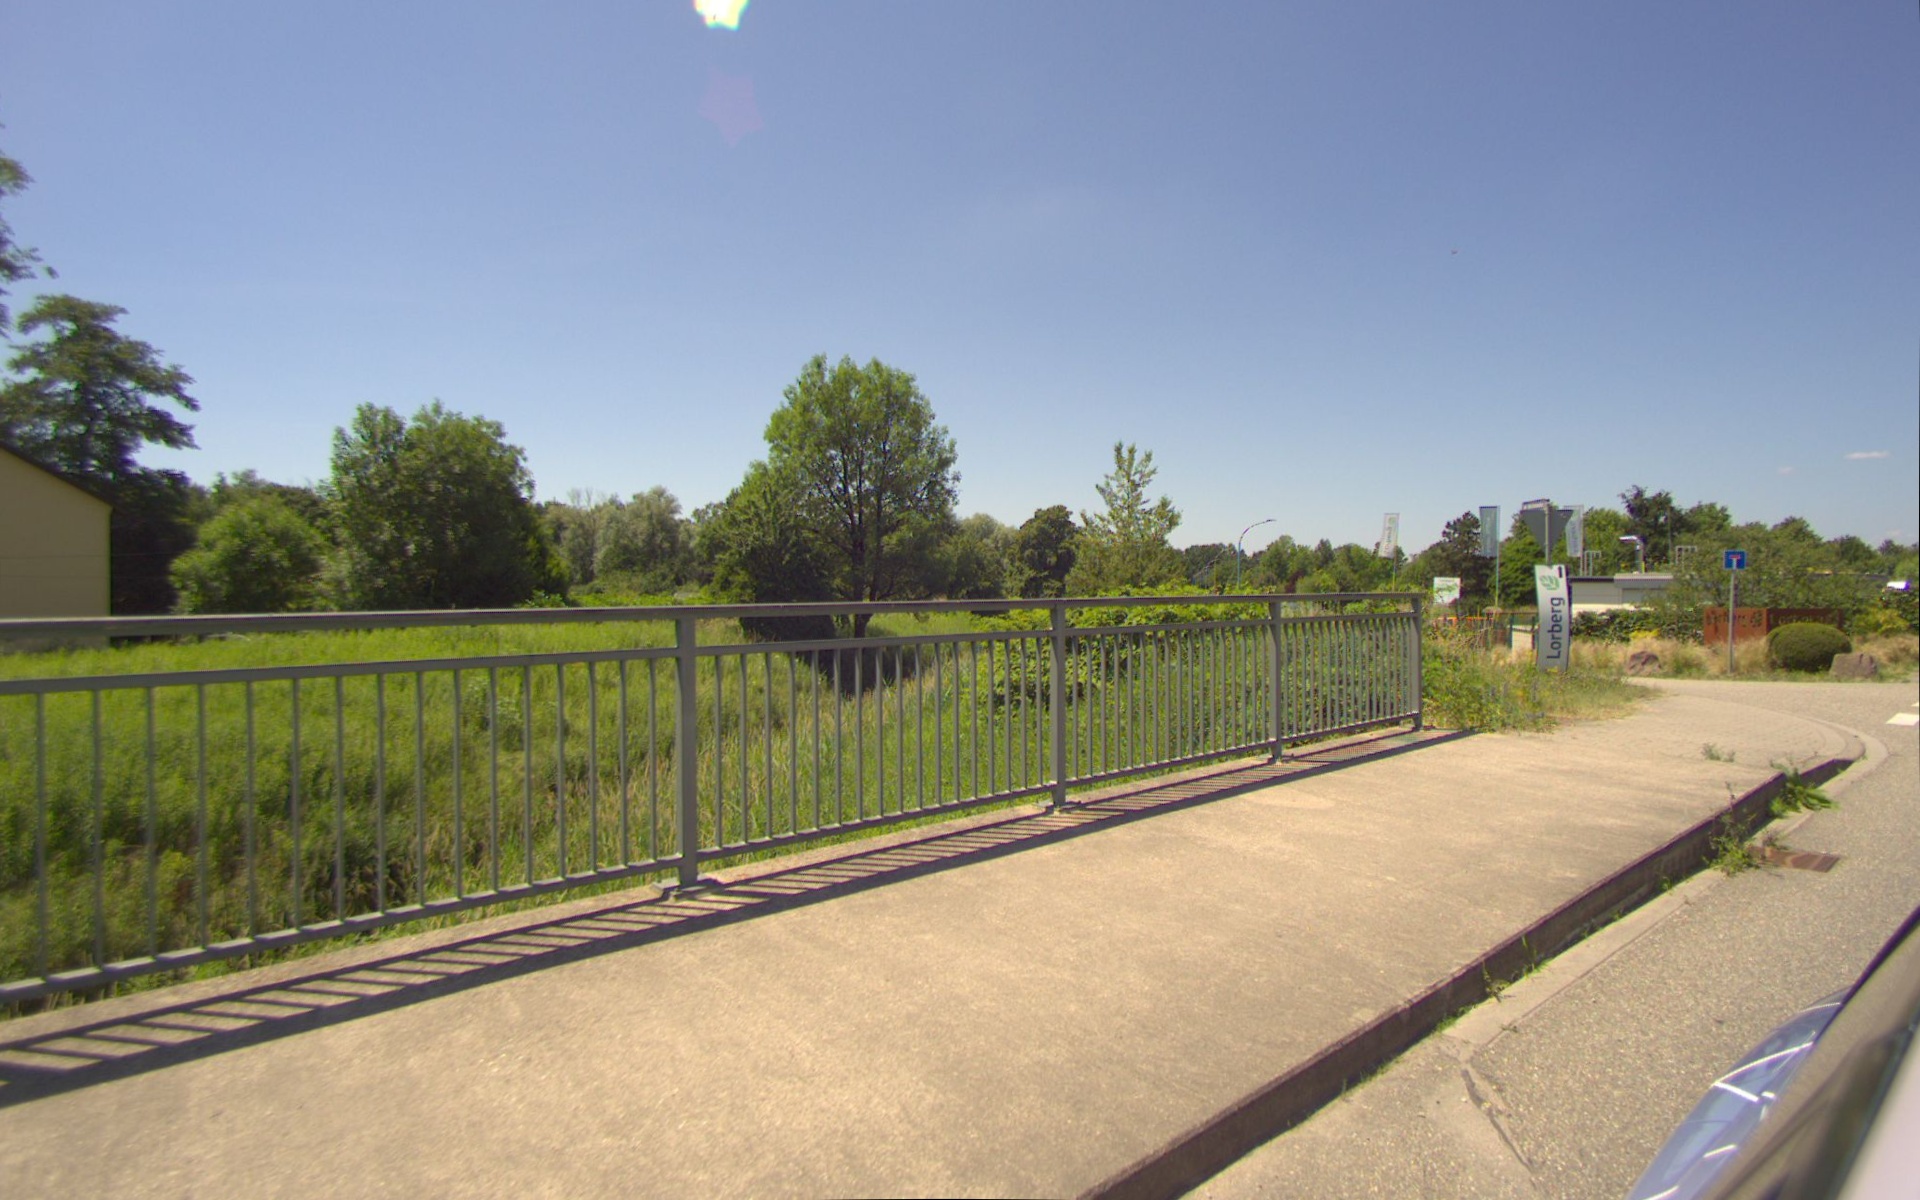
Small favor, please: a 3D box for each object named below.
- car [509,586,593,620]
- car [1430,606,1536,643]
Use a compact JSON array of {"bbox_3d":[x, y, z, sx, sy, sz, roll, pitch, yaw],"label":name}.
[{"bbox_3d":[-21.249,0.122,52.795,1.969,1.644,4.498,0,1,11],"label":"car"},{"bbox_3d":[30.774,1.407,59.600,5.459,2.039,2.003,-1,-1,-12],"label":"car"}]
